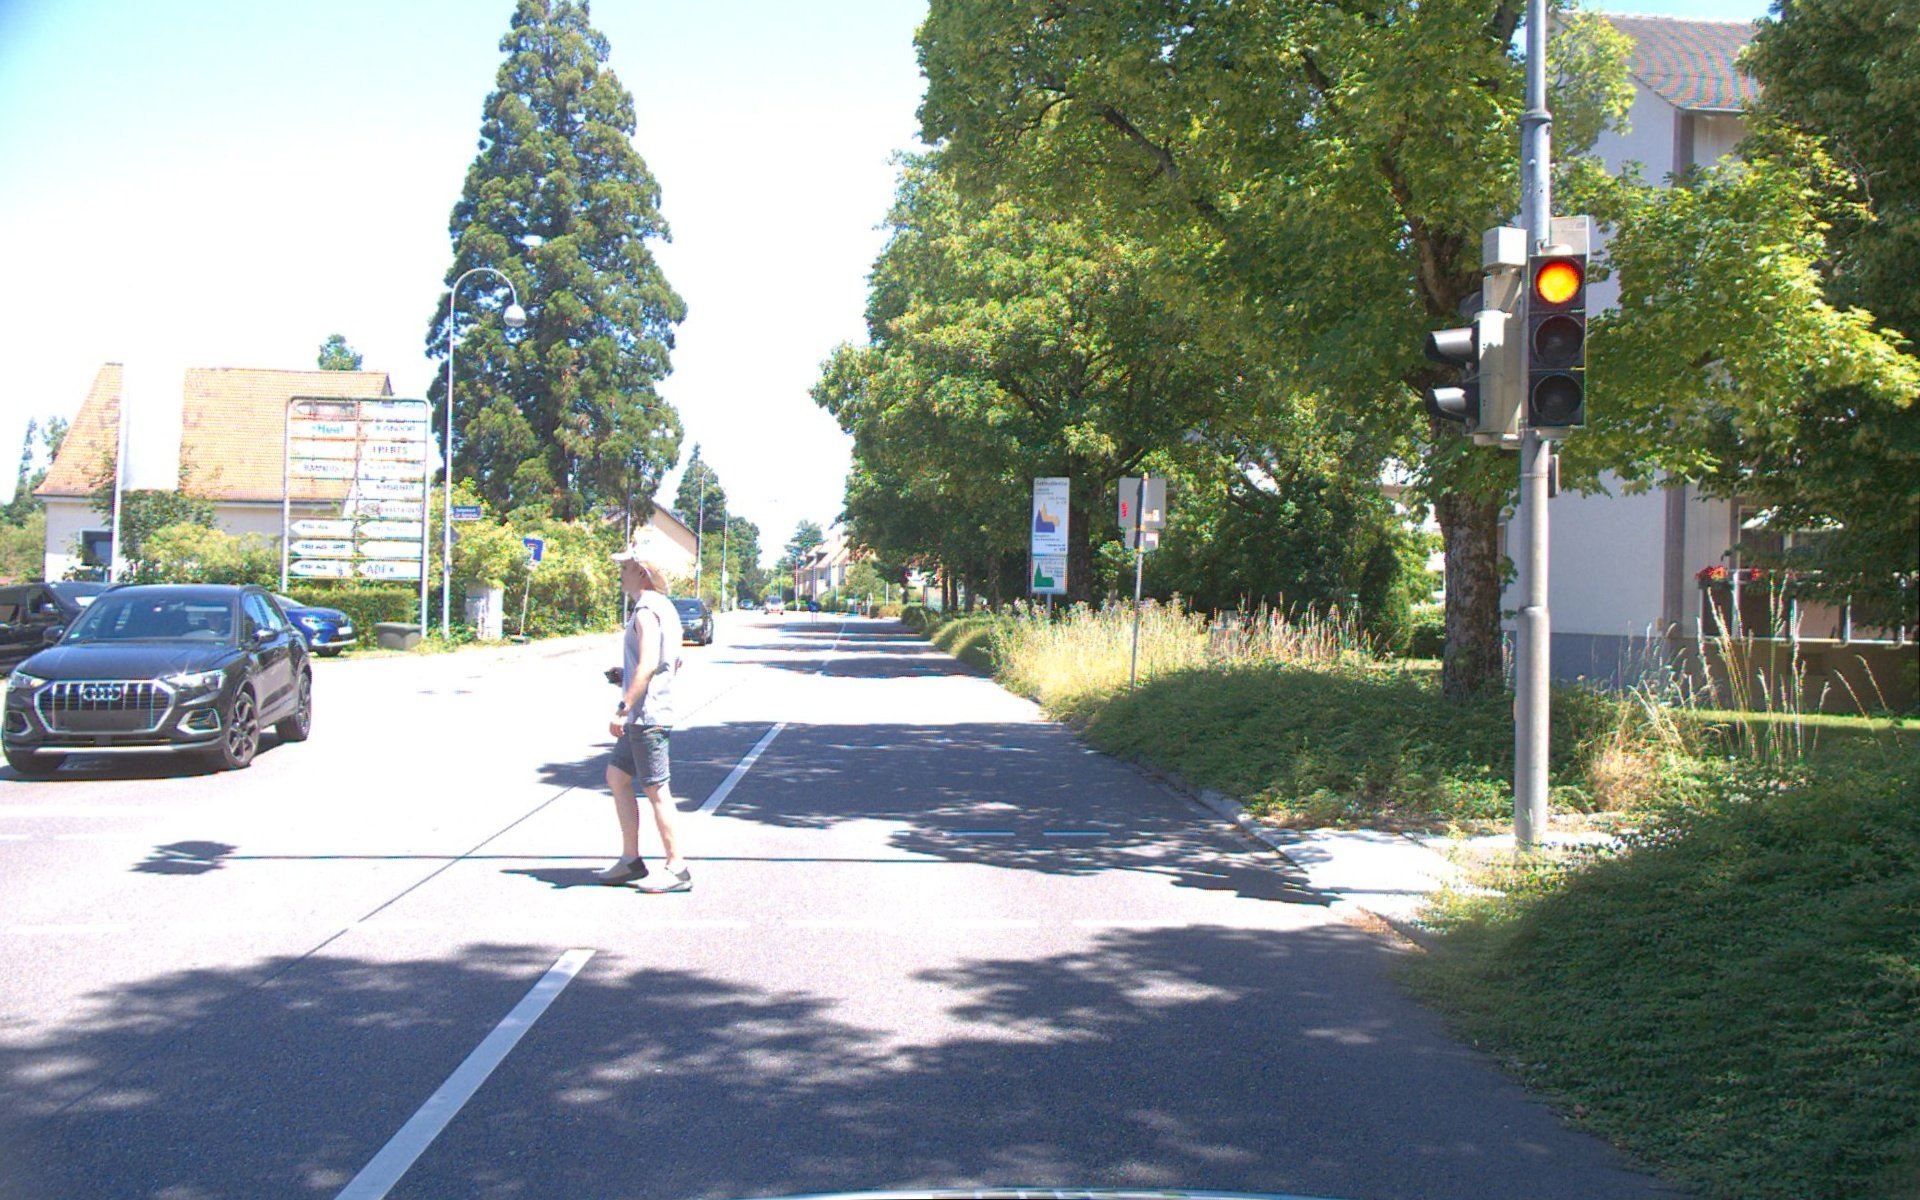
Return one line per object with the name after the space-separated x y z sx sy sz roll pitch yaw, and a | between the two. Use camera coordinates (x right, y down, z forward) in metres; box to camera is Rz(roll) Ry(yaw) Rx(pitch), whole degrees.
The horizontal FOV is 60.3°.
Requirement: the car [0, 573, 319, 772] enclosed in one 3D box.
-7.301 0.605 15.365 1.889 1.553 4.292 -1 -1 -13 | car

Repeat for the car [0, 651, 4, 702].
-24.593 1.898 39.630 1.713 1.247 3.240 1 0 -6 | car

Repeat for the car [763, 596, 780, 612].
-18.104 0.419 158.962 1.525 1.473 3.786 1 -1 -5 | car

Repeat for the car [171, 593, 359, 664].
-14.906 0.593 35.617 3.425 1.452 1.598 0 0 -8 | car

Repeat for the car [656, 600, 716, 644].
-8.850 0.705 53.583 1.402 1.345 3.354 1 -1 -1 | car

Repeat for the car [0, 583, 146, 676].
-17.910 0.571 32.467 3.089 1.744 1.569 1 -1 -11 | car

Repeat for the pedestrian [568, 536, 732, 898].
-1.586 0.575 8.505 0.600 1.781 0.562 1 -1 19 | pedestrian

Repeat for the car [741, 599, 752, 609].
-30.761 0.560 238.320 1.431 1.460 3.180 1 -1 -5 | car
